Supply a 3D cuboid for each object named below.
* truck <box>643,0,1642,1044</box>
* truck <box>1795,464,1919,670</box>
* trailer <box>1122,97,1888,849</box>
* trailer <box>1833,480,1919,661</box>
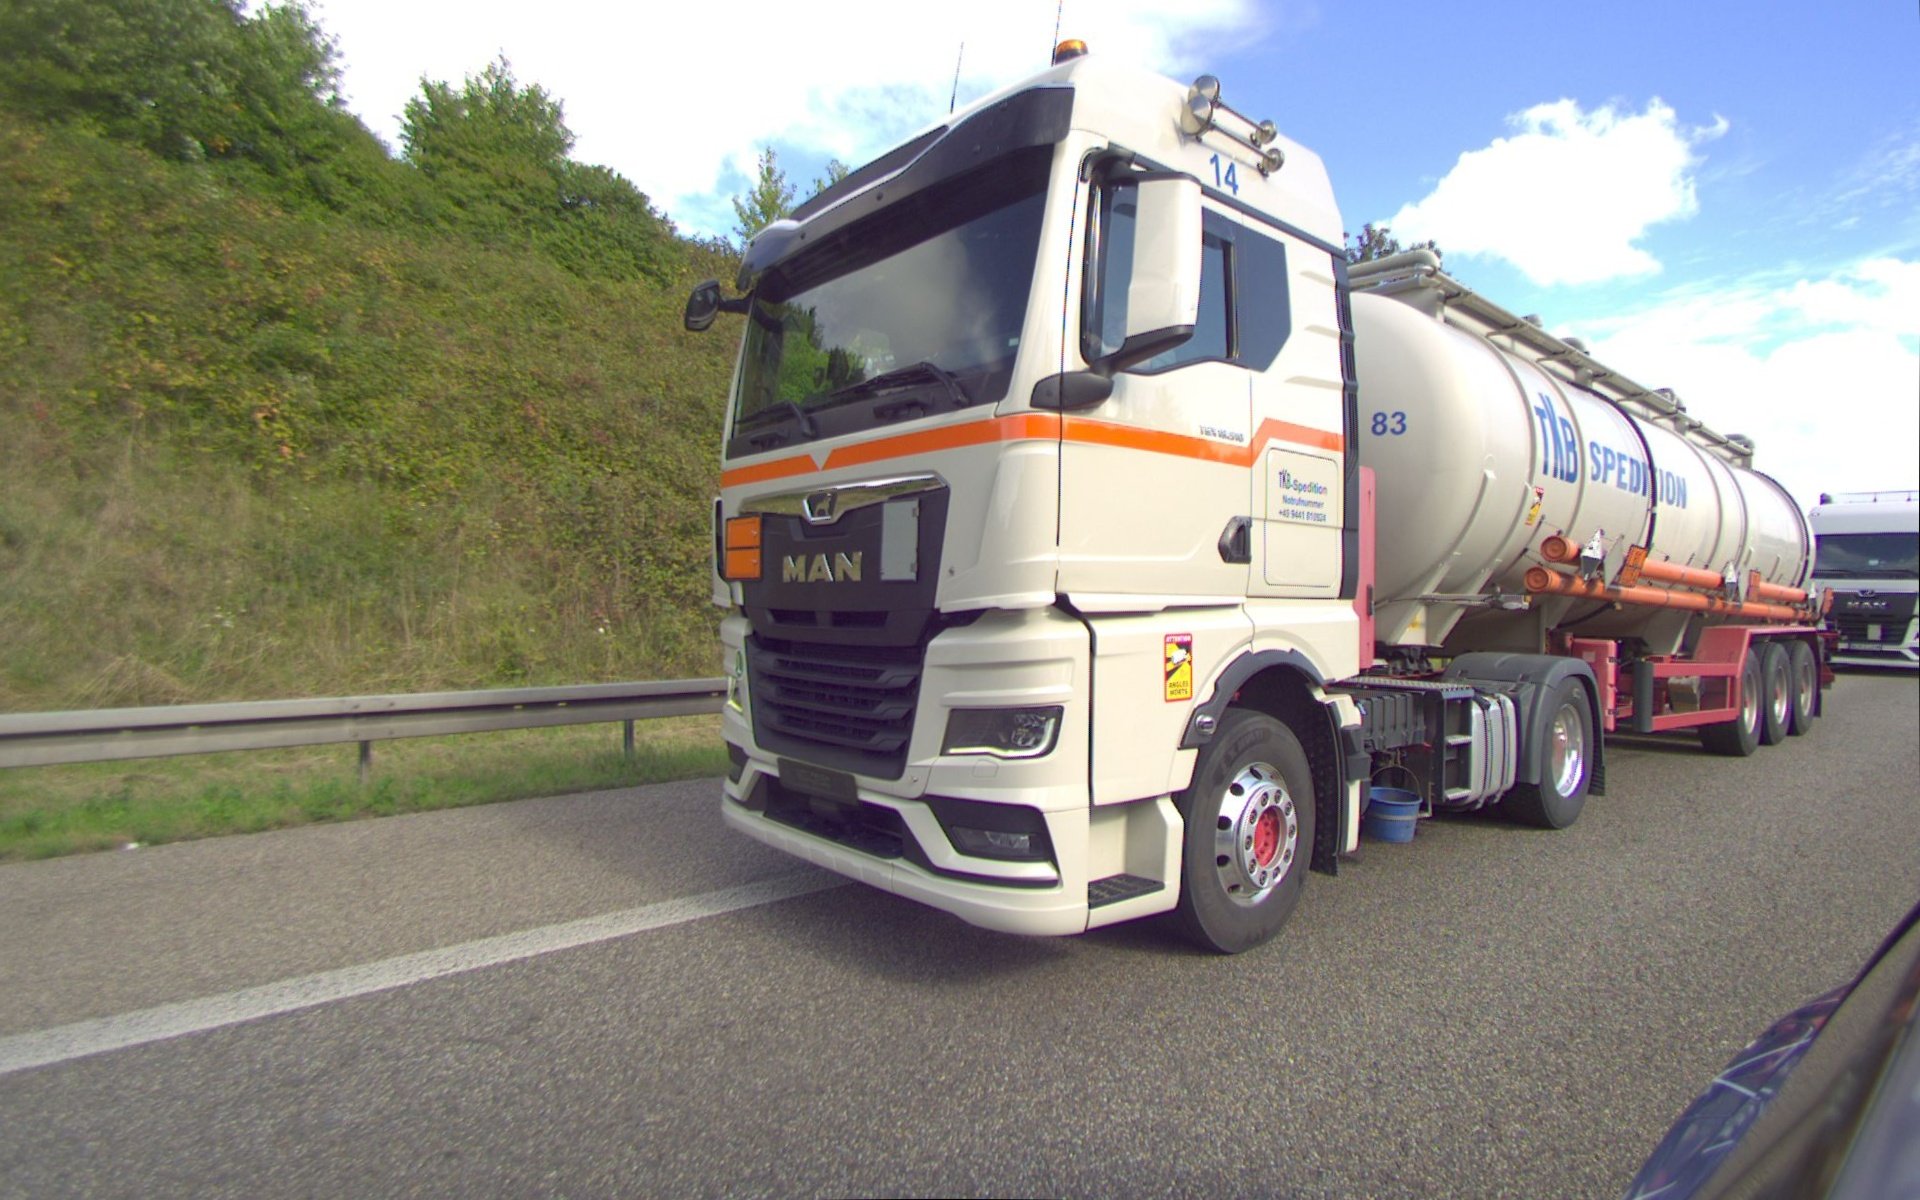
[{"bbox_3d":[1.461,-0.711,6.049,5.798,4.094,2.809,0,0,-39],"label":"truck"},{"bbox_3d":[21.031,-0.678,22.473,5.605,4.123,2.840,0,0,-39],"label":"truck"},{"bbox_3d":[6.345,-0.721,10.088,10.982,4.077,2.804,0,0,-40],"label":"trailer"},{"bbox_3d":[26.801,-0.689,27.255,13.132,4.122,2.832,0,1,-40],"label":"trailer"}]
